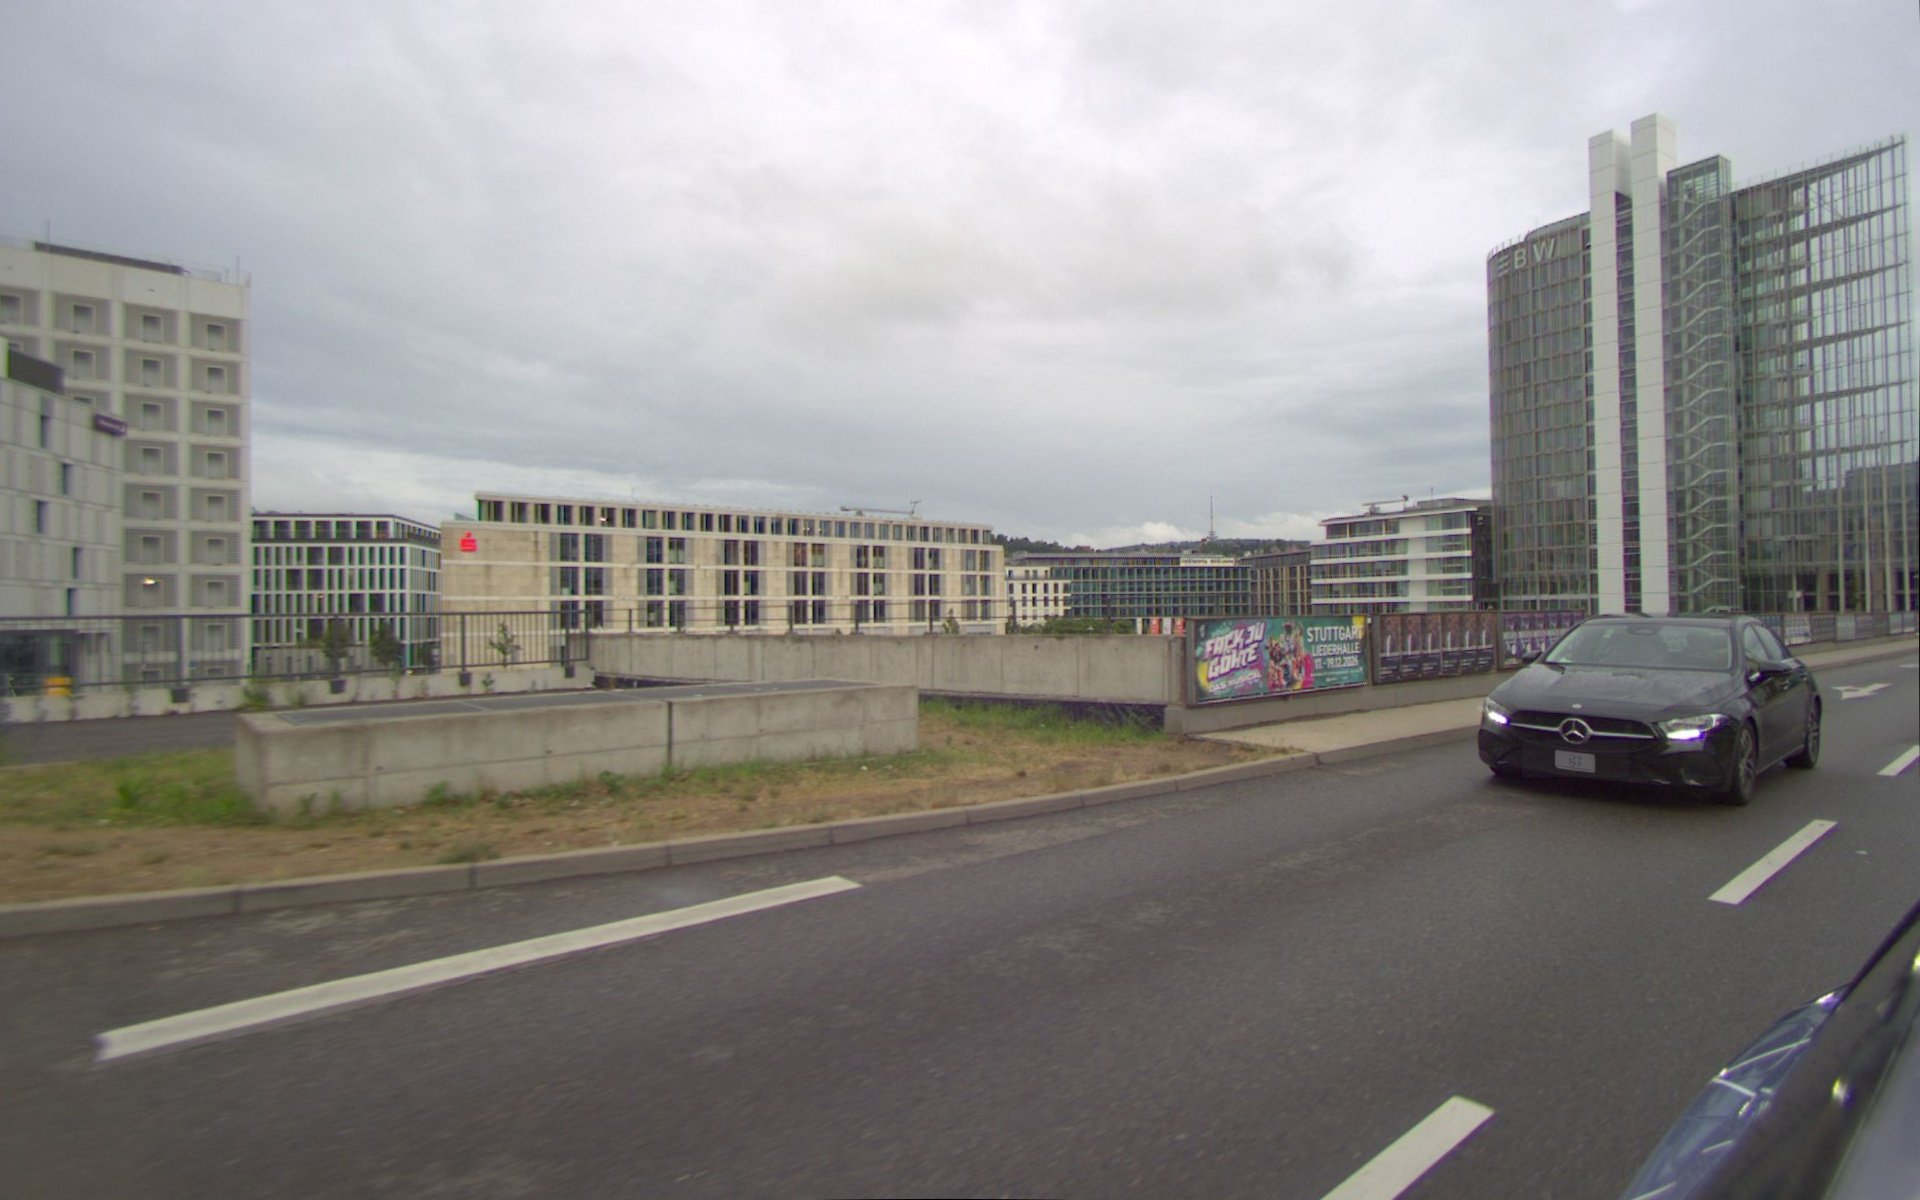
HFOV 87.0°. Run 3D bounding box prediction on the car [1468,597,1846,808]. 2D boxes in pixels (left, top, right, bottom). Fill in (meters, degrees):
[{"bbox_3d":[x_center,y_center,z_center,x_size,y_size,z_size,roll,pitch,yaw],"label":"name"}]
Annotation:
[{"bbox_3d":[6.125,0.677,8.711,4.083,1.393,1.726,0,0,-41],"label":"car"}]
